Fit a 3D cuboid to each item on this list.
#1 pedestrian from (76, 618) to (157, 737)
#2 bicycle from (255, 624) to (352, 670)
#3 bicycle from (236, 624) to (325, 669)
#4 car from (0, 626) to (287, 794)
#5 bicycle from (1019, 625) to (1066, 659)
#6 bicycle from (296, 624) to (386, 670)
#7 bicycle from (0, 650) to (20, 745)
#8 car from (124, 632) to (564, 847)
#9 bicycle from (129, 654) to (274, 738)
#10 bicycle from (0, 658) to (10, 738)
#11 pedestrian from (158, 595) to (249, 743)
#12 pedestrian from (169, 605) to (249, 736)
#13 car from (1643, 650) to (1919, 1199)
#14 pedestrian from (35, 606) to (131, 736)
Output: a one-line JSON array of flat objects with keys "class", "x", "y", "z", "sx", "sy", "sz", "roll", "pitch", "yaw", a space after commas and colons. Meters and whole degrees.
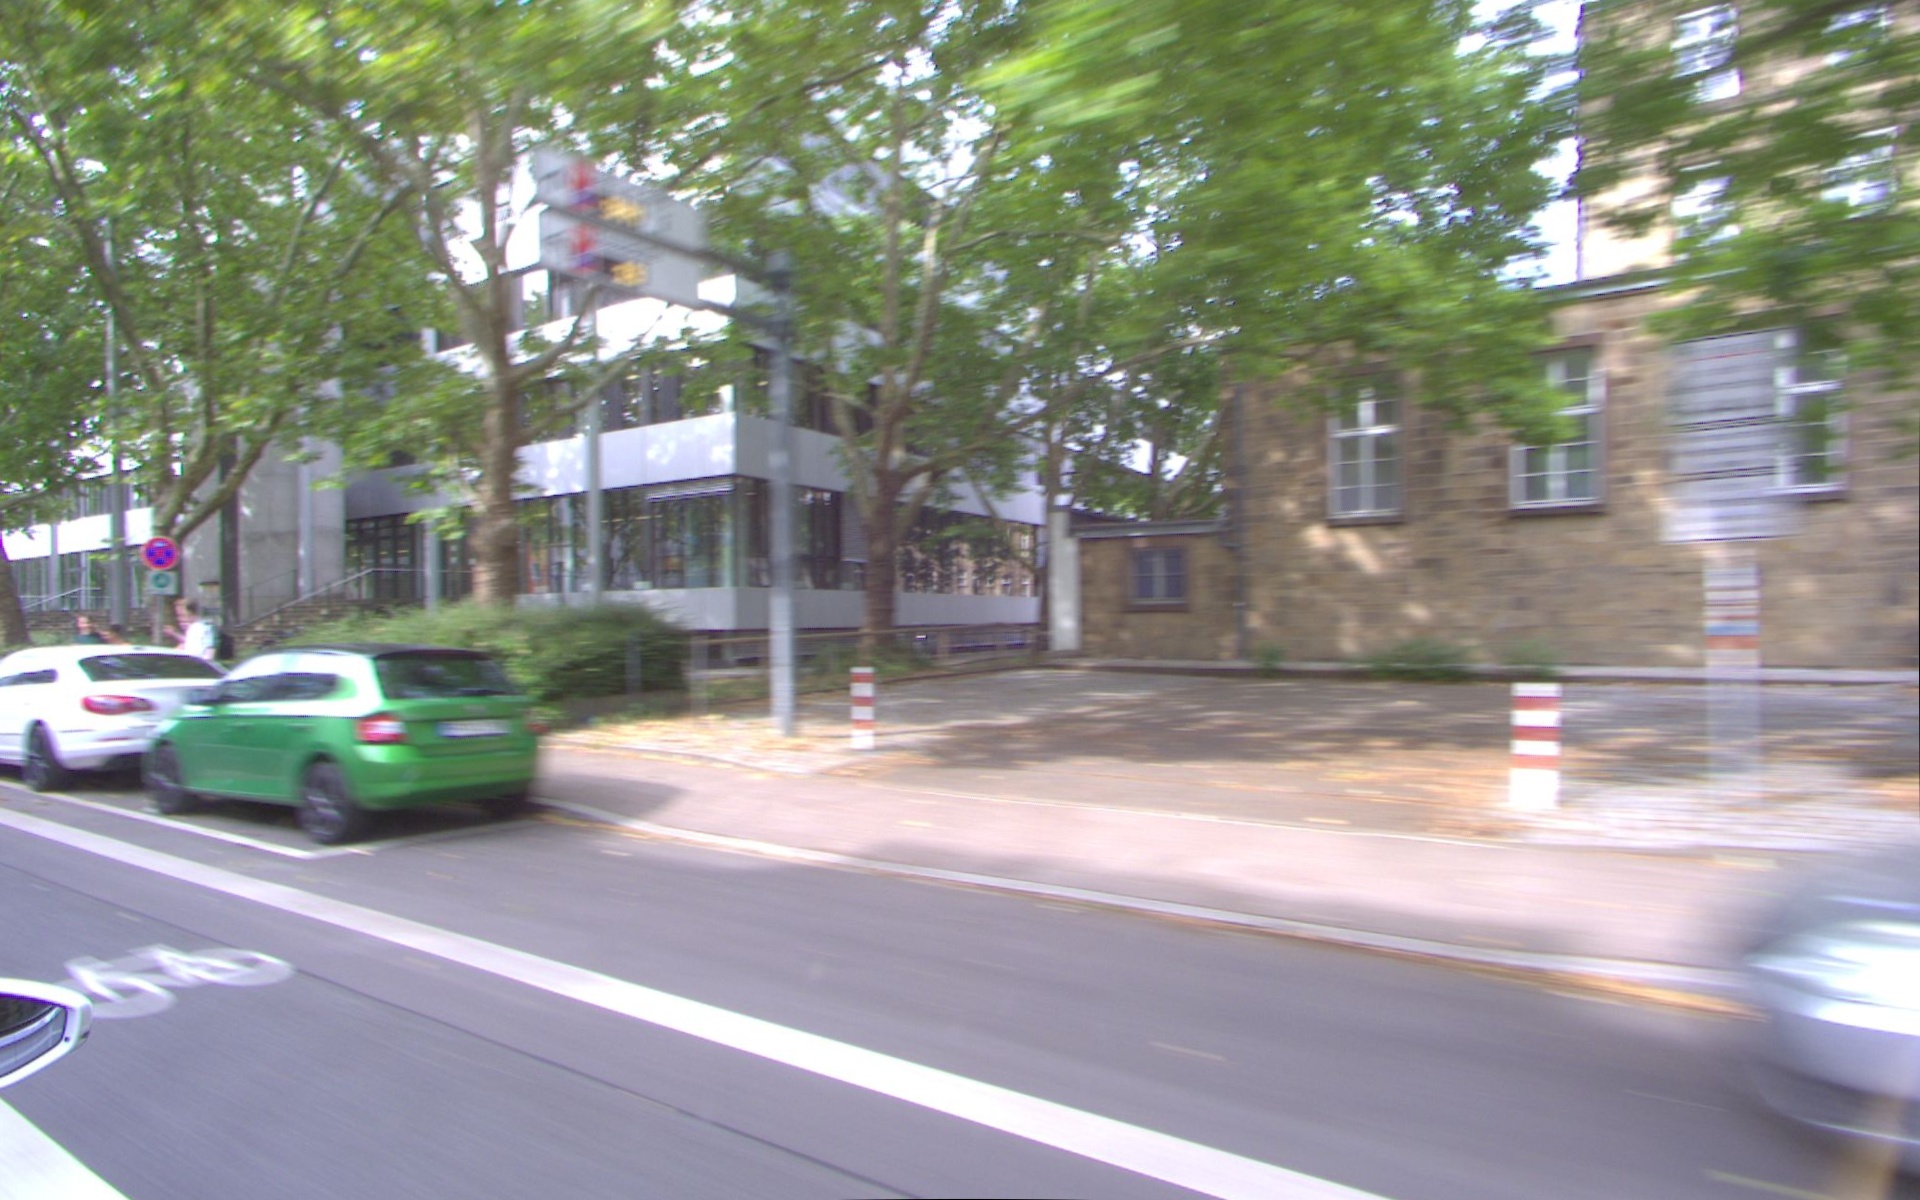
[{"class": "pedestrian", "x": -12.234, "y": 1.104, "z": 14.533, "sx": 0.645, "sy": 1.679, "sz": 0.720, "roll": 0, "pitch": -2, "yaw": 32}, {"class": "bicycle", "x": -17.511, "y": 1.227, "z": 26.747, "sx": 0.663, "sy": 1.132, "sz": 2.075, "roll": 0, "pitch": 0, "yaw": 32}, {"class": "bicycle", "x": -18.608, "y": 1.256, "z": 27.476, "sx": 0.663, "sy": 1.132, "sz": 1.911, "roll": 0, "pitch": 0, "yaw": 32}, {"class": "car", "x": -9.542, "y": 1.087, "z": 11.064, "sx": 4.476, "sy": 1.534, "sz": 1.680, "roll": -1, "pitch": -3, "yaw": 30}, {"class": "bicycle", "x": 2.316, "y": 1.171, "z": 27.993, "sx": 0.502, "sy": 0.889, "sz": 1.614, "roll": -3, "pitch": -2, "yaw": 36}, {"class": "bicycle", "x": -16.404, "y": 1.218, "z": 26.583, "sx": 0.663, "sy": 1.132, "sz": 1.911, "roll": 0, "pitch": 0, "yaw": 32}, {"class": "bicycle", "x": -12.994, "y": 1.251, "z": 12.504, "sx": 0.543, "sy": 1.232, "sz": 1.794, "roll": 0, "pitch": -2, "yaw": 15}, {"class": "car", "x": -5.315, "y": 1.039, "z": 8.562, "sx": 3.749, "sy": 1.467, "sz": 1.586, "roll": -1, "pitch": -3, "yaw": 30}, {"class": "bicycle", "x": -11.365, "y": 1.407, "z": 15.077, "sx": 0.454, "sy": 1.146, "sz": 1.770, "roll": 0, "pitch": -2, "yaw": 20}, {"class": "bicycle", "x": -13.958, "y": 1.343, "z": 13.394, "sx": 0.543, "sy": 1.119, "sz": 1.737, "roll": 0, "pitch": -2, "yaw": 21}, {"class": "pedestrian", "x": -10.713, "y": 0.960, "z": 14.189, "sx": 0.739, "sy": 2.023, "sz": 0.792, "roll": 0, "pitch": -1, "yaw": 32}, {"class": "pedestrian", "x": -11.139, "y": 1.024, "z": 14.857, "sx": 0.693, "sy": 1.878, "sz": 0.720, "roll": 0, "pitch": -1, "yaw": 32}, {"class": "car", "x": 4.006, "y": 0.881, "z": 2.315, "sx": 3.822, "sy": 1.465, "sz": 1.643, "roll": -1, "pitch": -3, "yaw": 28}, {"class": "pedestrian", "x": -12.969, "y": 1.032, "z": 14.818, "sx": 0.769, "sy": 1.840, "sz": 0.869, "roll": 0, "pitch": -2, "yaw": 32}]
